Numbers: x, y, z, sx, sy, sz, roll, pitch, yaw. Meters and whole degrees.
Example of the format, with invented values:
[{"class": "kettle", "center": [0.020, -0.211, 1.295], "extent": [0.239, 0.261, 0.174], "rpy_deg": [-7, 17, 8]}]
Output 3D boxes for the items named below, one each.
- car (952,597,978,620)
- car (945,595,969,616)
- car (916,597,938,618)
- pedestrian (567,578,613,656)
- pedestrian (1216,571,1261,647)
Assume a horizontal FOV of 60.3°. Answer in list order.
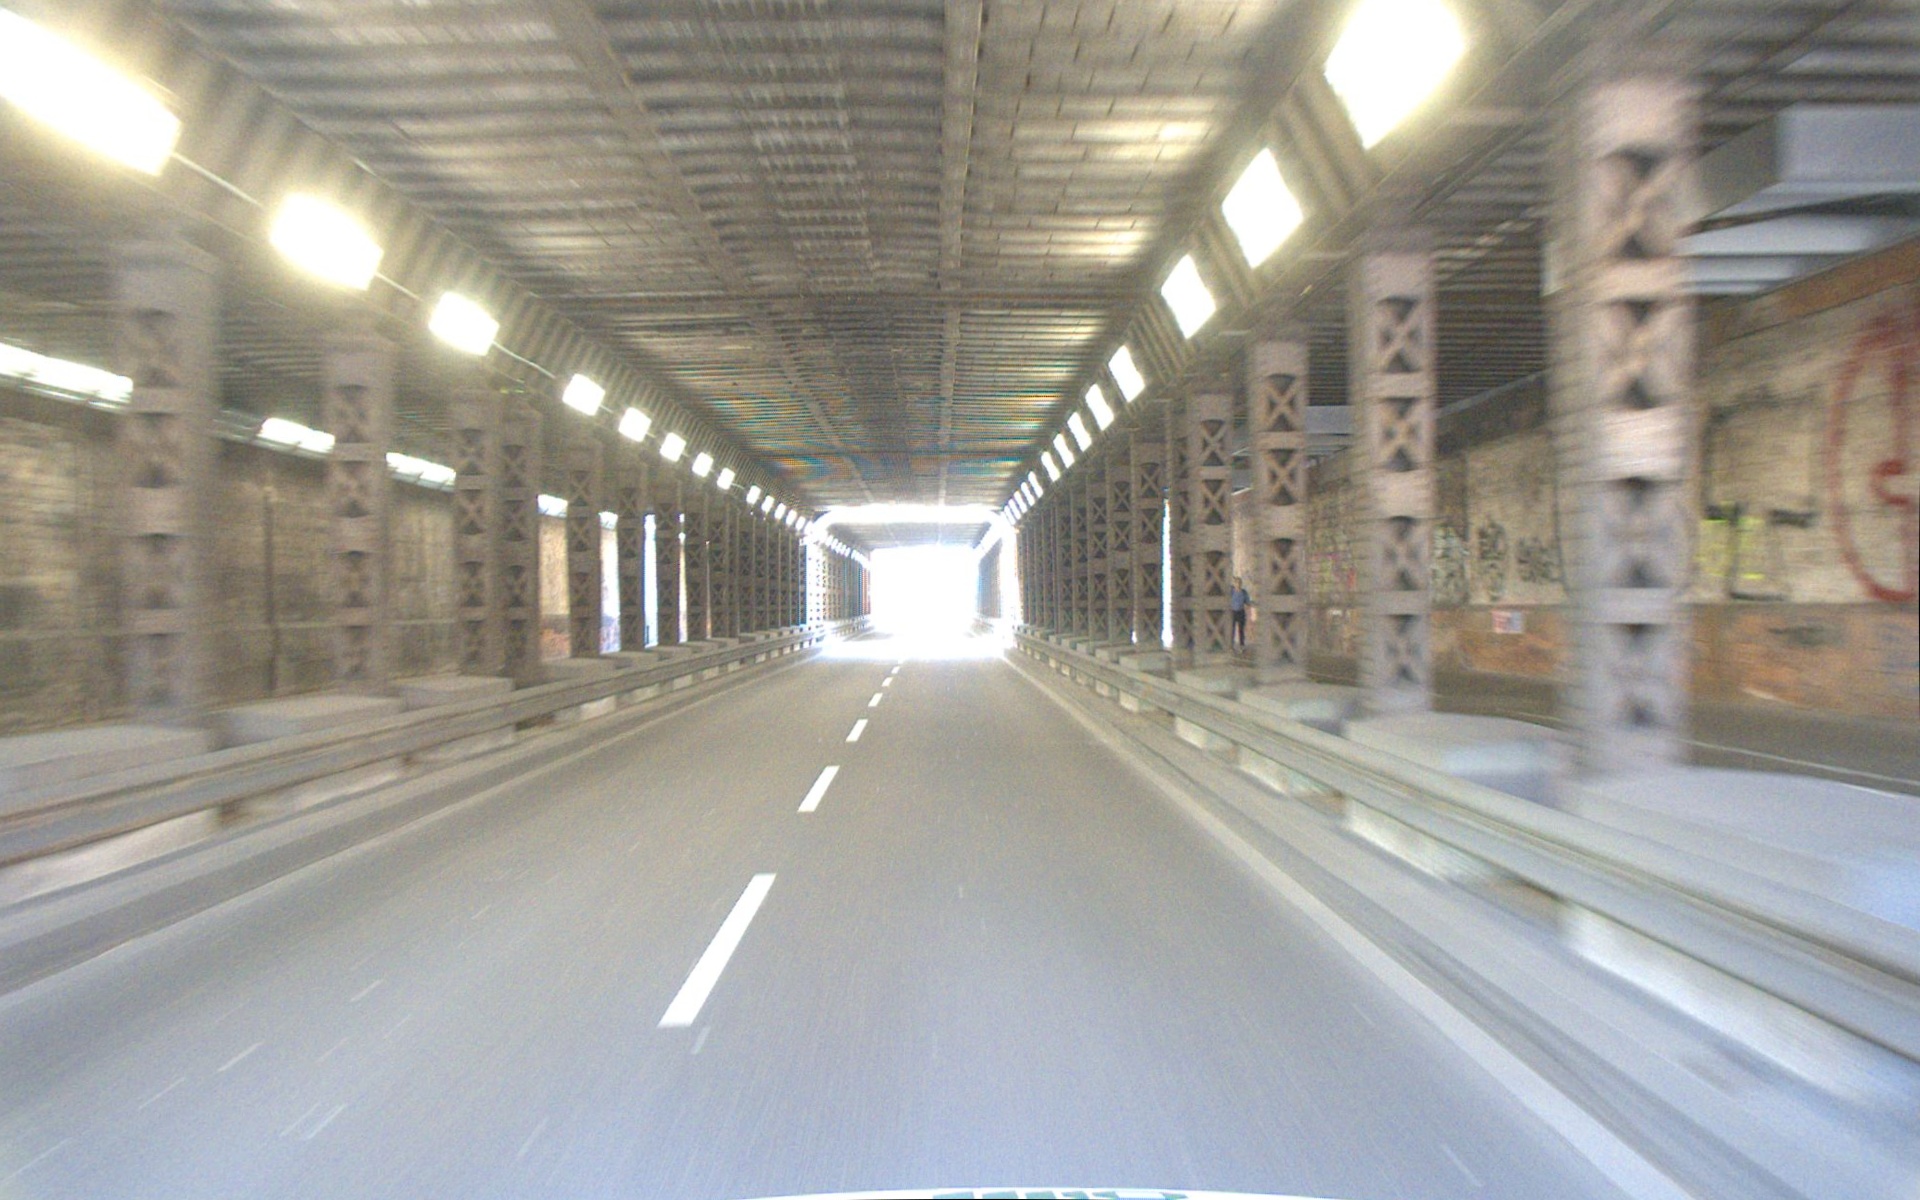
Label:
[{"class": "car", "center": [0.390, 0.695, 134.682], "extent": [1.953, 1.815, 3.999], "rpy_deg": [-1, 0, -1]}, {"class": "car", "center": [-0.277, 0.475, 144.652], "extent": [1.953, 1.815, 3.999], "rpy_deg": [-1, 0, -1]}, {"class": "car", "center": [-2.956, 0.680, 150.429], "extent": [1.953, 1.815, 3.999], "rpy_deg": [-1, 0, -1]}, {"class": "pedestrian", "center": [-10.100, 0.483, 45.224], "extent": [0.939, 2.091, 1.355], "rpy_deg": [0, -2, 0]}, {"class": "pedestrian", "center": [6.521, 0.211, 38.812], "extent": [0.783, 1.731, 1.111], "rpy_deg": [-2, 0, -2]}]
